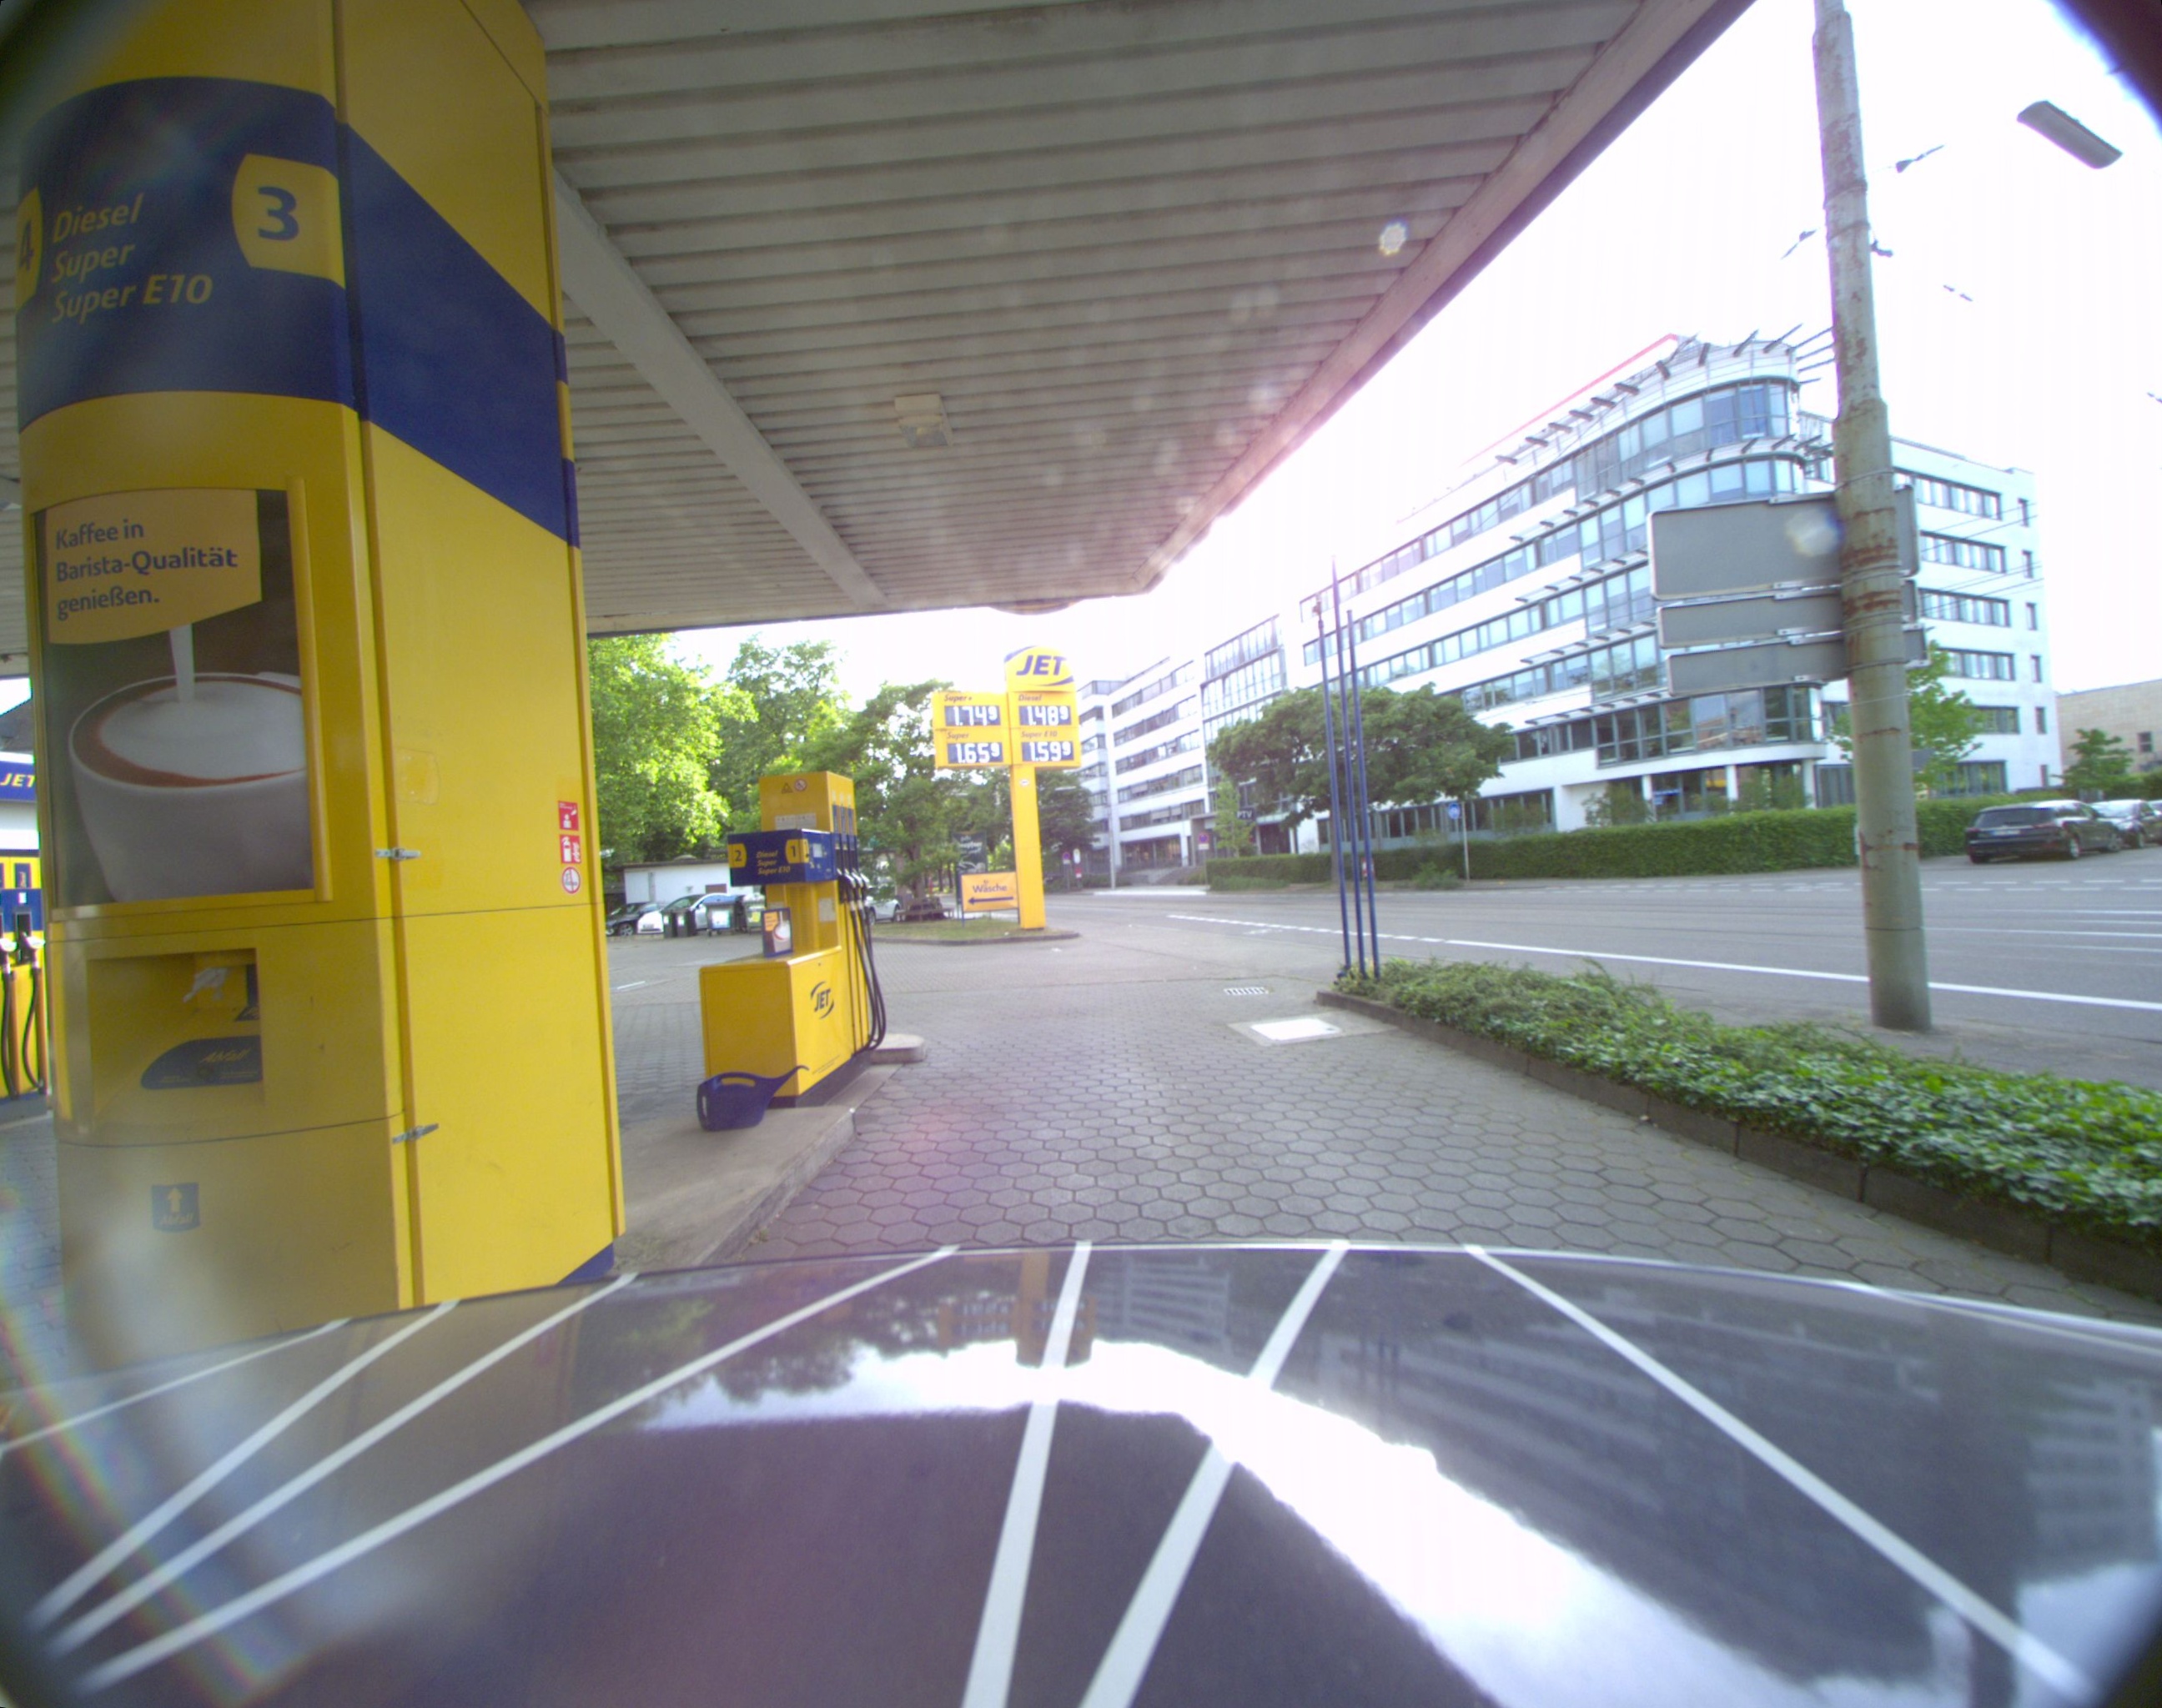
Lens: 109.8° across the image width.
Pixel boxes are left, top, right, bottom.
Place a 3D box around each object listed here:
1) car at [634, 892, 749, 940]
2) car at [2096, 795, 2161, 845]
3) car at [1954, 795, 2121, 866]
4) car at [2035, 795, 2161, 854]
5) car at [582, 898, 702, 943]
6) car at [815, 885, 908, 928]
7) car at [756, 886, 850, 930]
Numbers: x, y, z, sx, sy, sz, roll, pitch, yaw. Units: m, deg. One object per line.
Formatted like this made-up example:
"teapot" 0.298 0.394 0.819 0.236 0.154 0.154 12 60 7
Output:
"car" -15.392 2.407 30.267 1.823 1.575 4.200 -4 -2 10
"car" 37.102 -1.253 26.025 4.201 1.568 1.820 -4 -1 -24
"car" 27.415 -0.670 21.767 4.397 1.678 1.820 -4 -1 -24
"car" 32.573 -0.959 24.077 4.201 1.568 1.820 -4 -1 -24
"car" -17.536 2.626 30.622 1.823 1.426 4.200 -4 -2 10
"car" -8.659 2.043 30.391 1.823 1.449 4.200 -4 -2 10
"car" -11.749 2.260 32.478 1.823 1.575 4.200 -4 -2 10
